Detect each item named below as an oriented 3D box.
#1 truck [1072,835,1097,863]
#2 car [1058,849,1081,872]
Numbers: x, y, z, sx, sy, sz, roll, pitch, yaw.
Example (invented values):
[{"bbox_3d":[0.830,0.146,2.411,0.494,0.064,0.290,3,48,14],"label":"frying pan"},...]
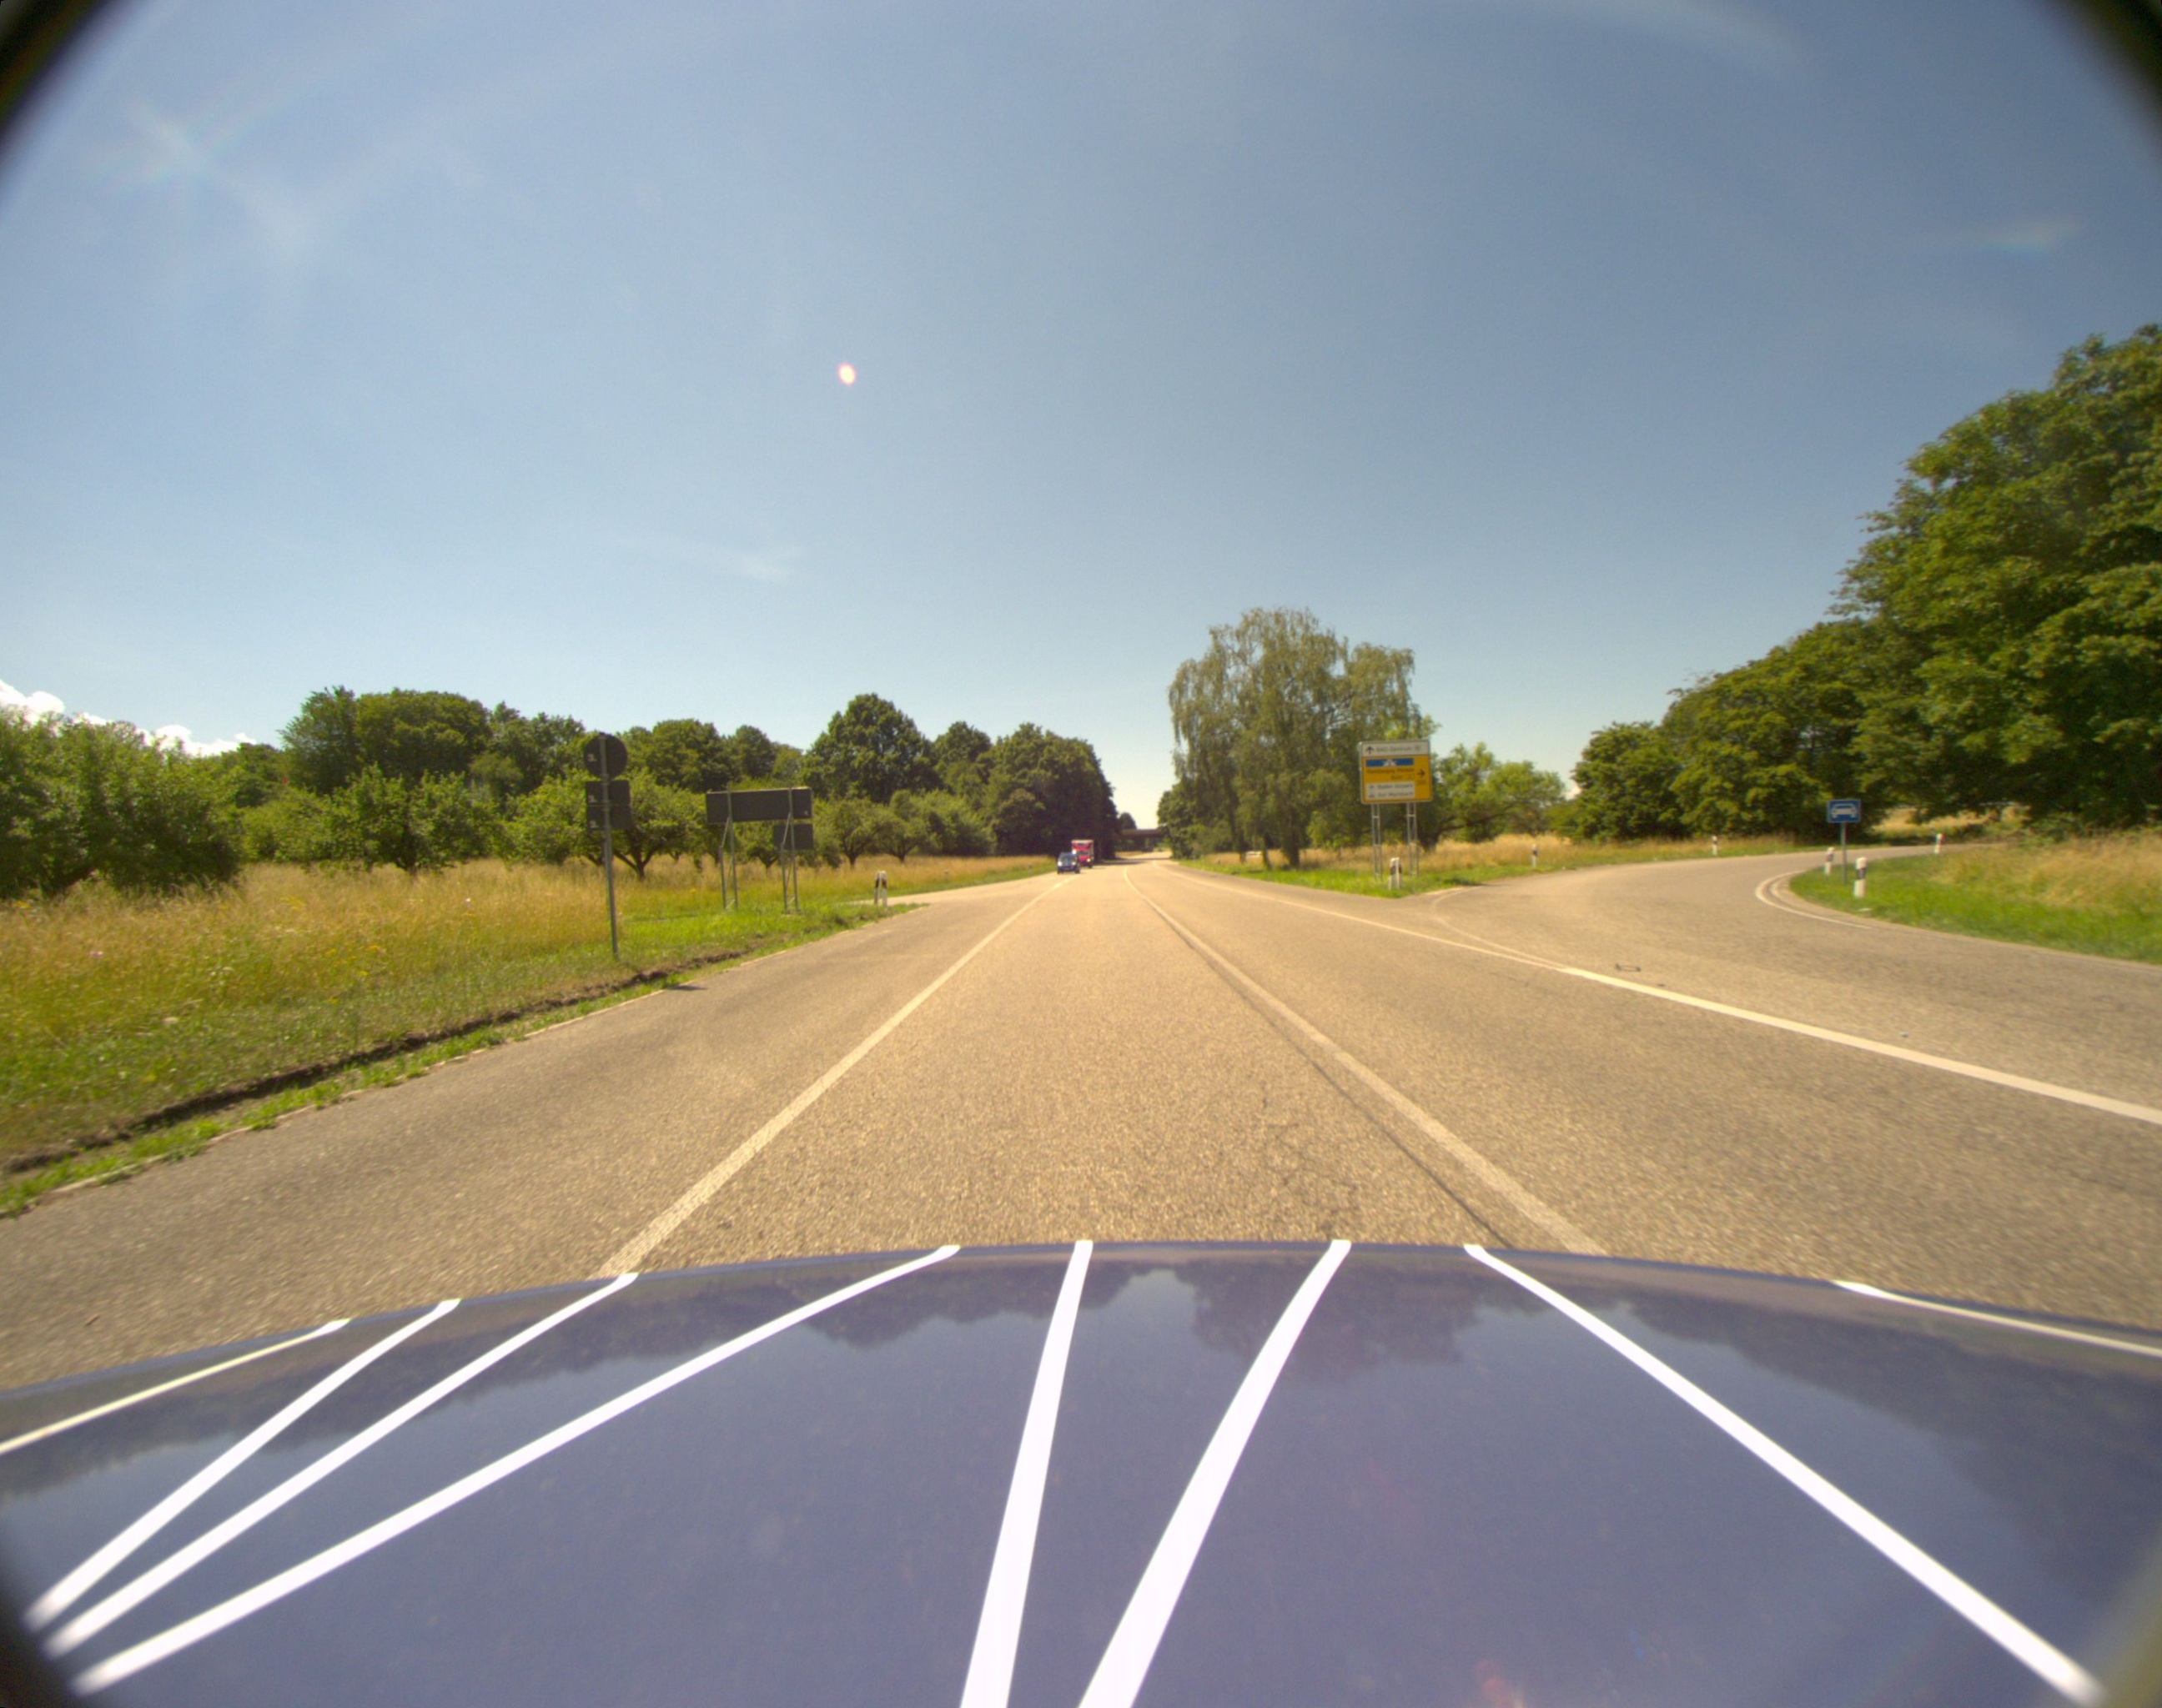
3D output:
[{"bbox_3d":[0.461,-0.608,86.224,2.457,2.927,6.974,-1,1,2],"label":"truck"},{"bbox_3d":[-0.943,0.530,64.258,1.746,1.833,4.000,-2,1,2],"label":"car"}]
